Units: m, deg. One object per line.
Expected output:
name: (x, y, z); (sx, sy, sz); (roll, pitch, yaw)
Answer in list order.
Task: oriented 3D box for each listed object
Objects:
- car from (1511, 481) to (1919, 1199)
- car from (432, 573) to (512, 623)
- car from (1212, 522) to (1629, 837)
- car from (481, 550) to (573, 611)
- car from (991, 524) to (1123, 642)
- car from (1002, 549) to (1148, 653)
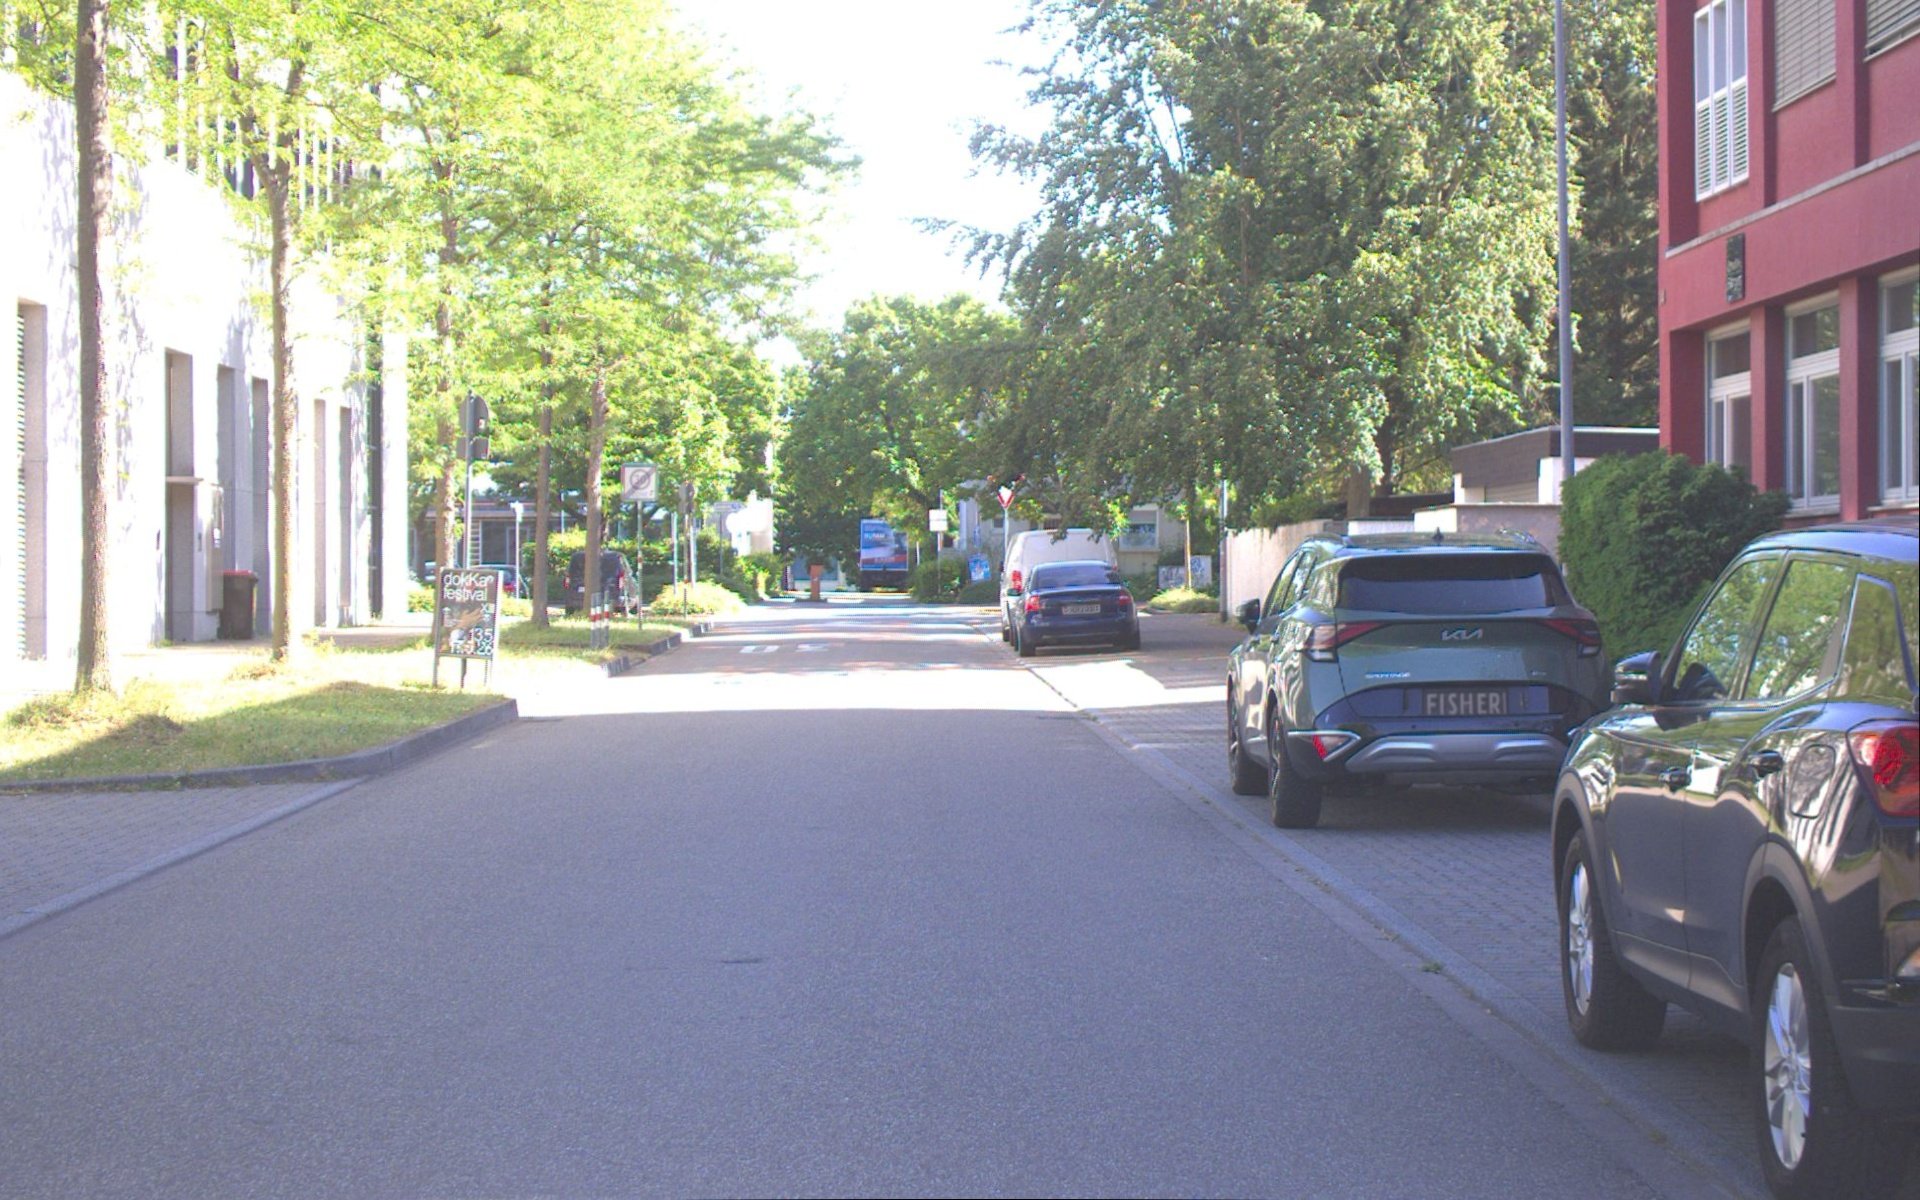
car: (2.712, 0.554, 9.027); (1.838, 1.628, 4.201); (0, 1, 0)
car: (-13.383, -0.068, 94.449); (1.905, 1.337, 3.793); (0, 1, -4)
car: (2.571, 0.404, 20.102); (1.855, 1.642, 4.000); (-1, 0, 0)
car: (-10.491, -0.487, 83.486); (1.993, 1.453, 3.794); (0, 1, -4)
car: (1.615, -0.305, 58.512); (1.993, 1.828, 4.000); (-3, 1, 0)
car: (1.724, -0.004, 52.778); (1.993, 1.437, 4.000); (-3, 1, 0)
